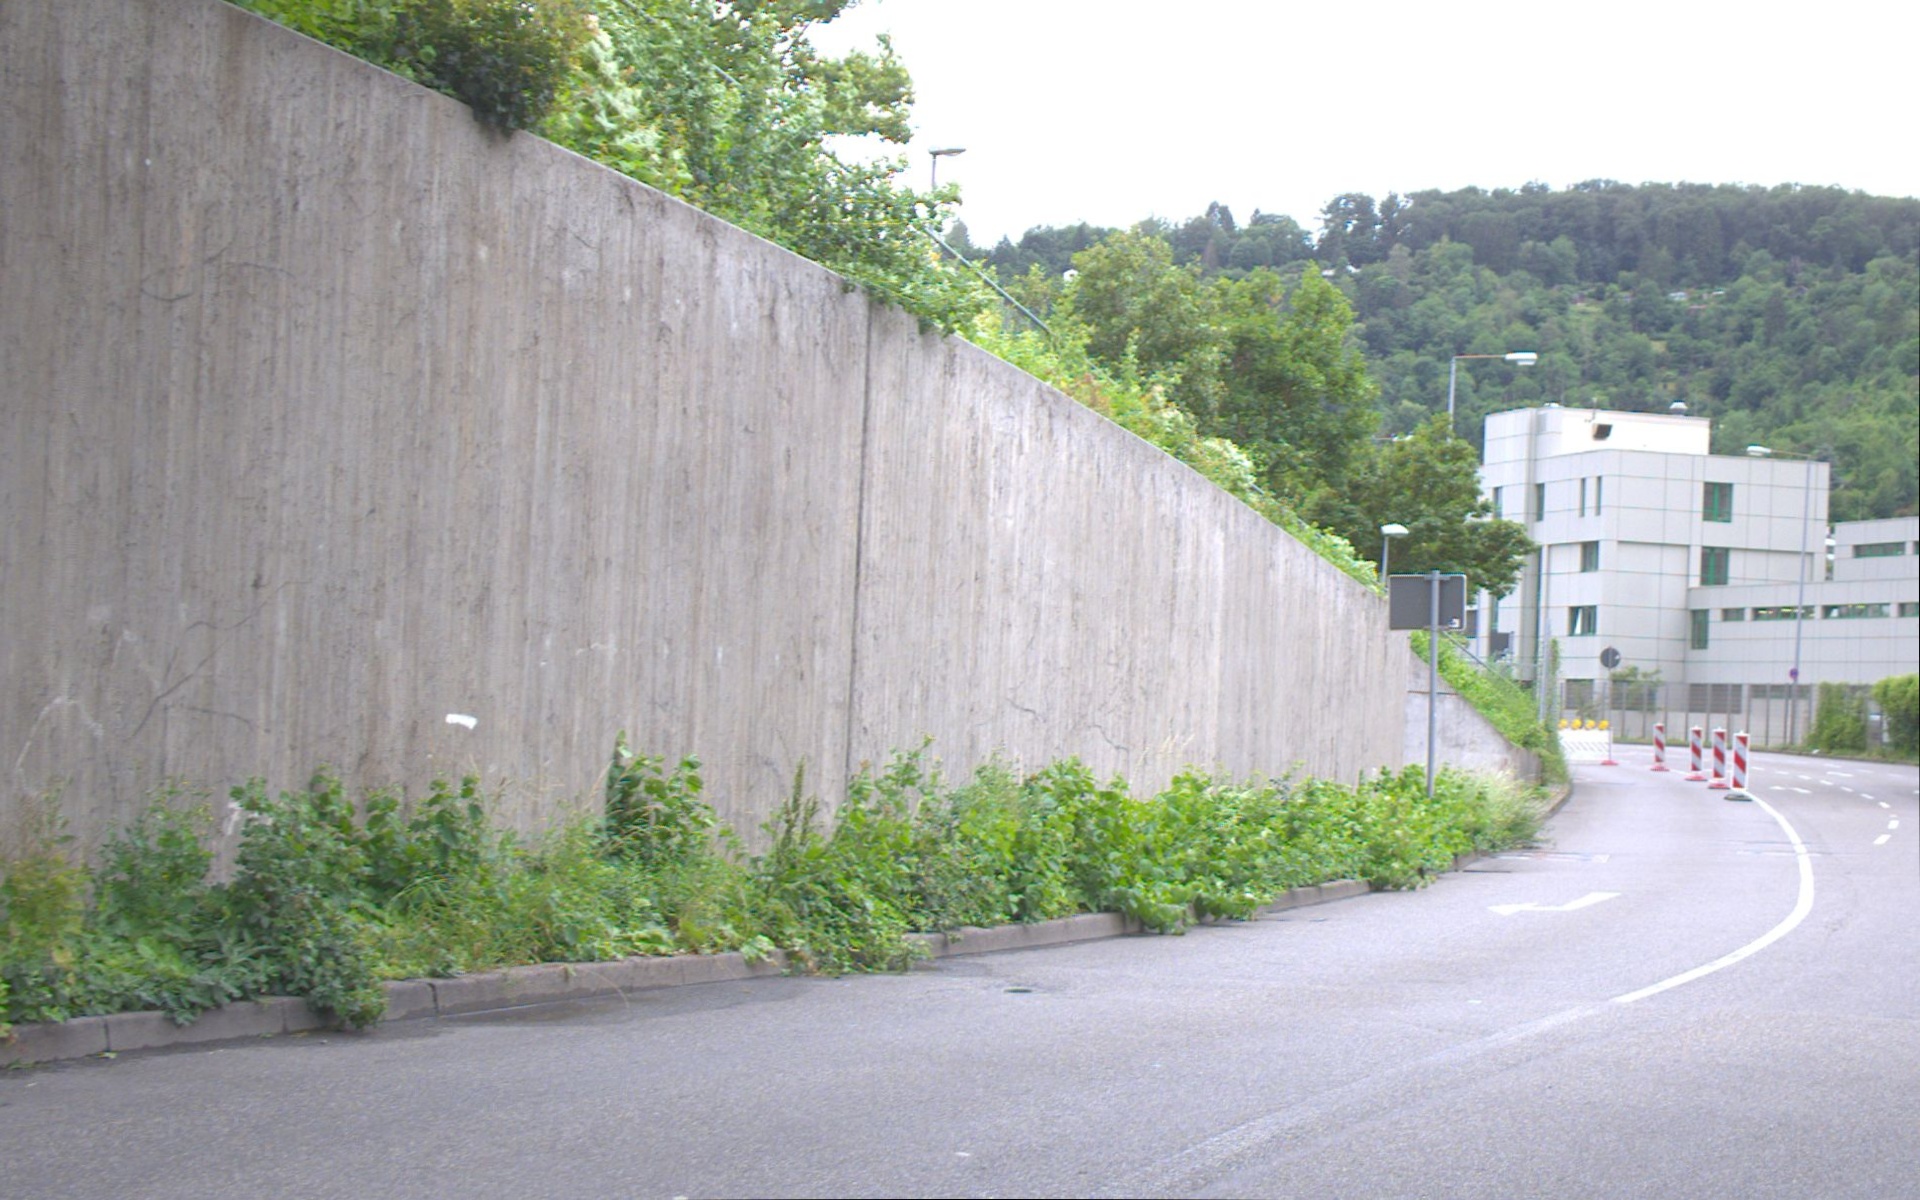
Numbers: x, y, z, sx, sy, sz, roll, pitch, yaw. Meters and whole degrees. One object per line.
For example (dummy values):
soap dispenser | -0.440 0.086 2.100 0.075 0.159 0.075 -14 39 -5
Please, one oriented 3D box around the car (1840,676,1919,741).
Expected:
car | 37.446 4.335 134.098 1.993 2.255 6.170 5 0 -33
